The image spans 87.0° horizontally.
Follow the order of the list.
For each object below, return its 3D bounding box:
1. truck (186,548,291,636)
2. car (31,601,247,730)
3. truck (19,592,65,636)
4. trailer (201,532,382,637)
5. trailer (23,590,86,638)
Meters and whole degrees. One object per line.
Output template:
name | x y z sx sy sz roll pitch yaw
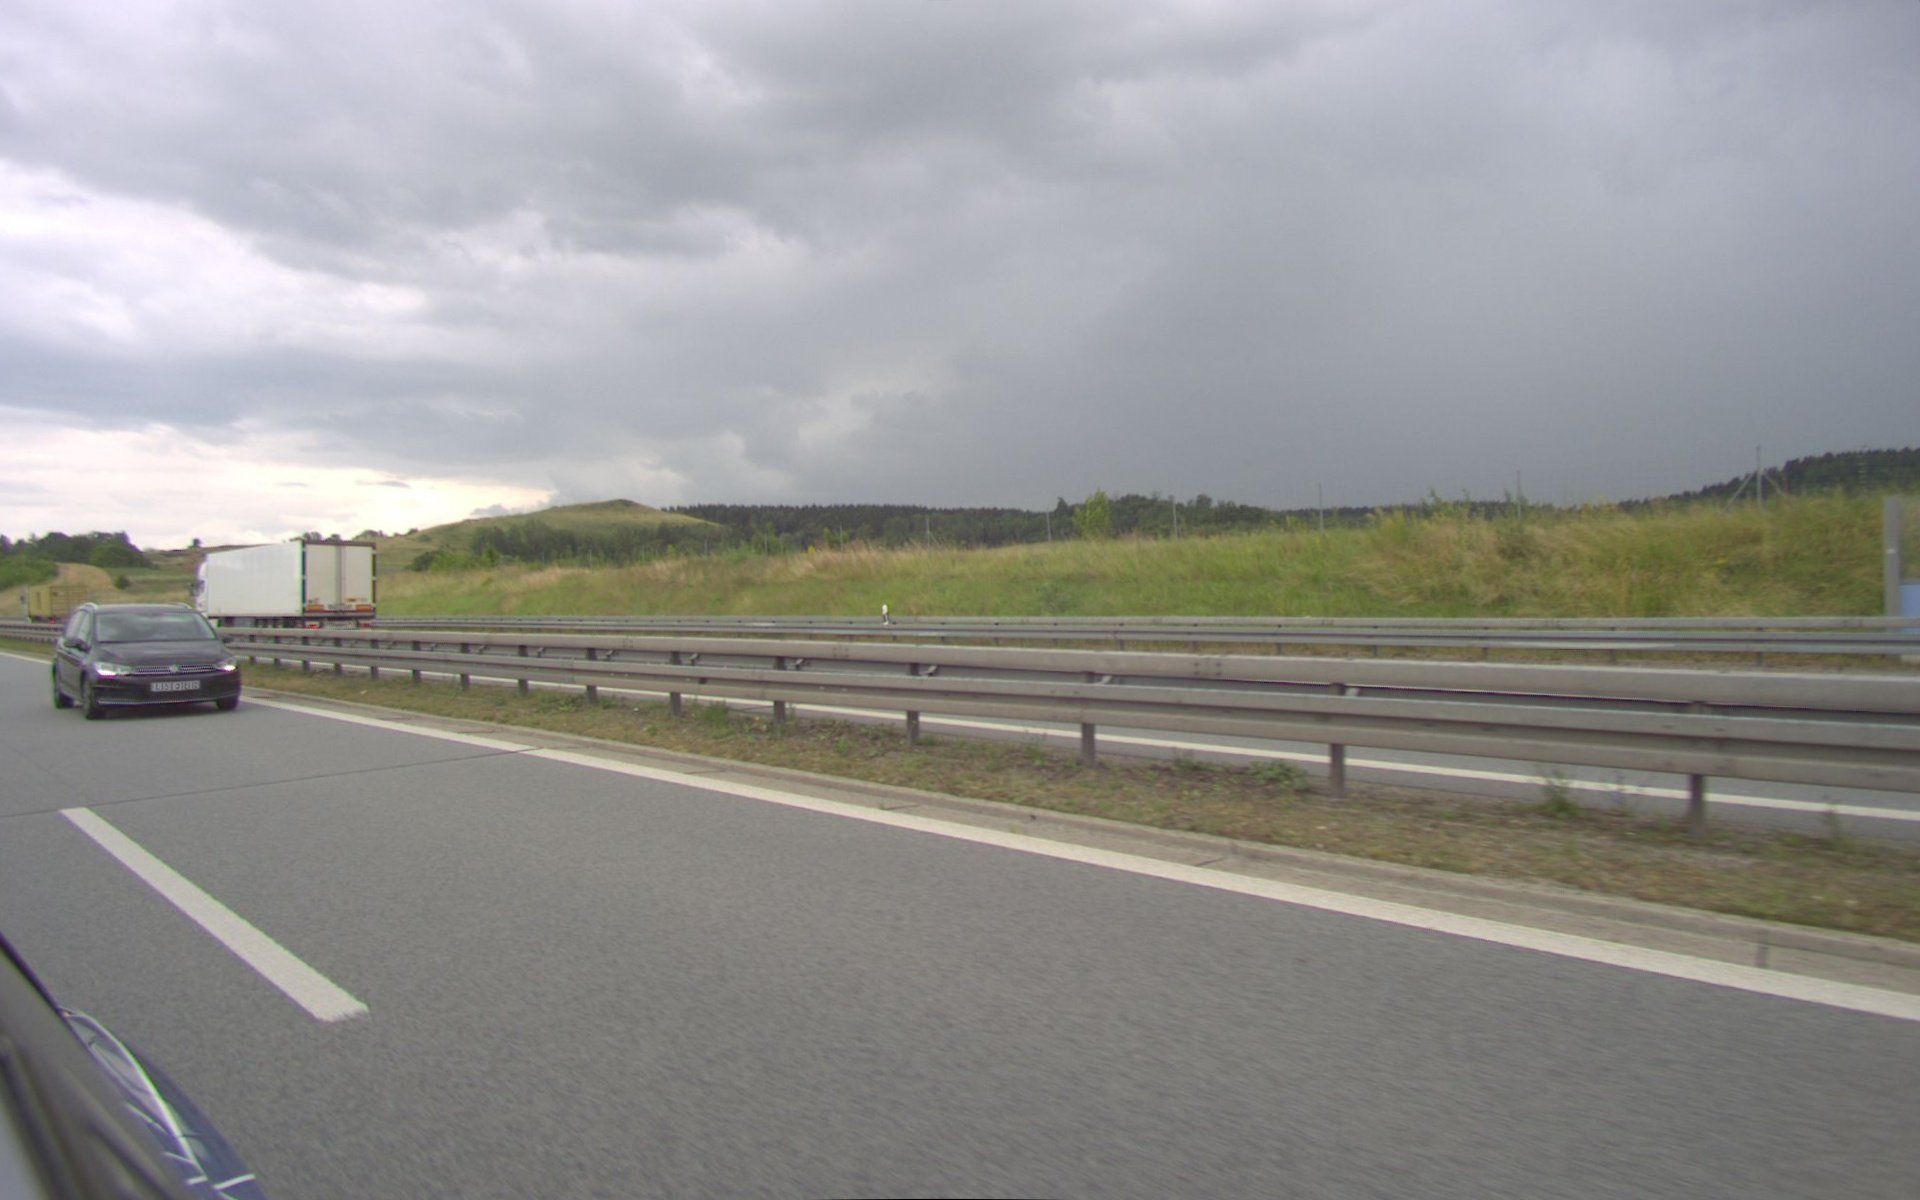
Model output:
truck | -34.848 -0.334 48.806 5.515 3.955 2.921 -2 0 41
car | -13.019 0.909 15.905 5.396 1.683 1.876 -1 0 43
truck | -85.732 1.287 94.508 5.585 3.955 2.565 -2 0 41
trailer | -29.417 -0.470 44.028 14.267 3.955 2.887 -1 0 41
trailer | -80.743 1.294 90.112 13.695 3.955 2.563 -1 0 41
